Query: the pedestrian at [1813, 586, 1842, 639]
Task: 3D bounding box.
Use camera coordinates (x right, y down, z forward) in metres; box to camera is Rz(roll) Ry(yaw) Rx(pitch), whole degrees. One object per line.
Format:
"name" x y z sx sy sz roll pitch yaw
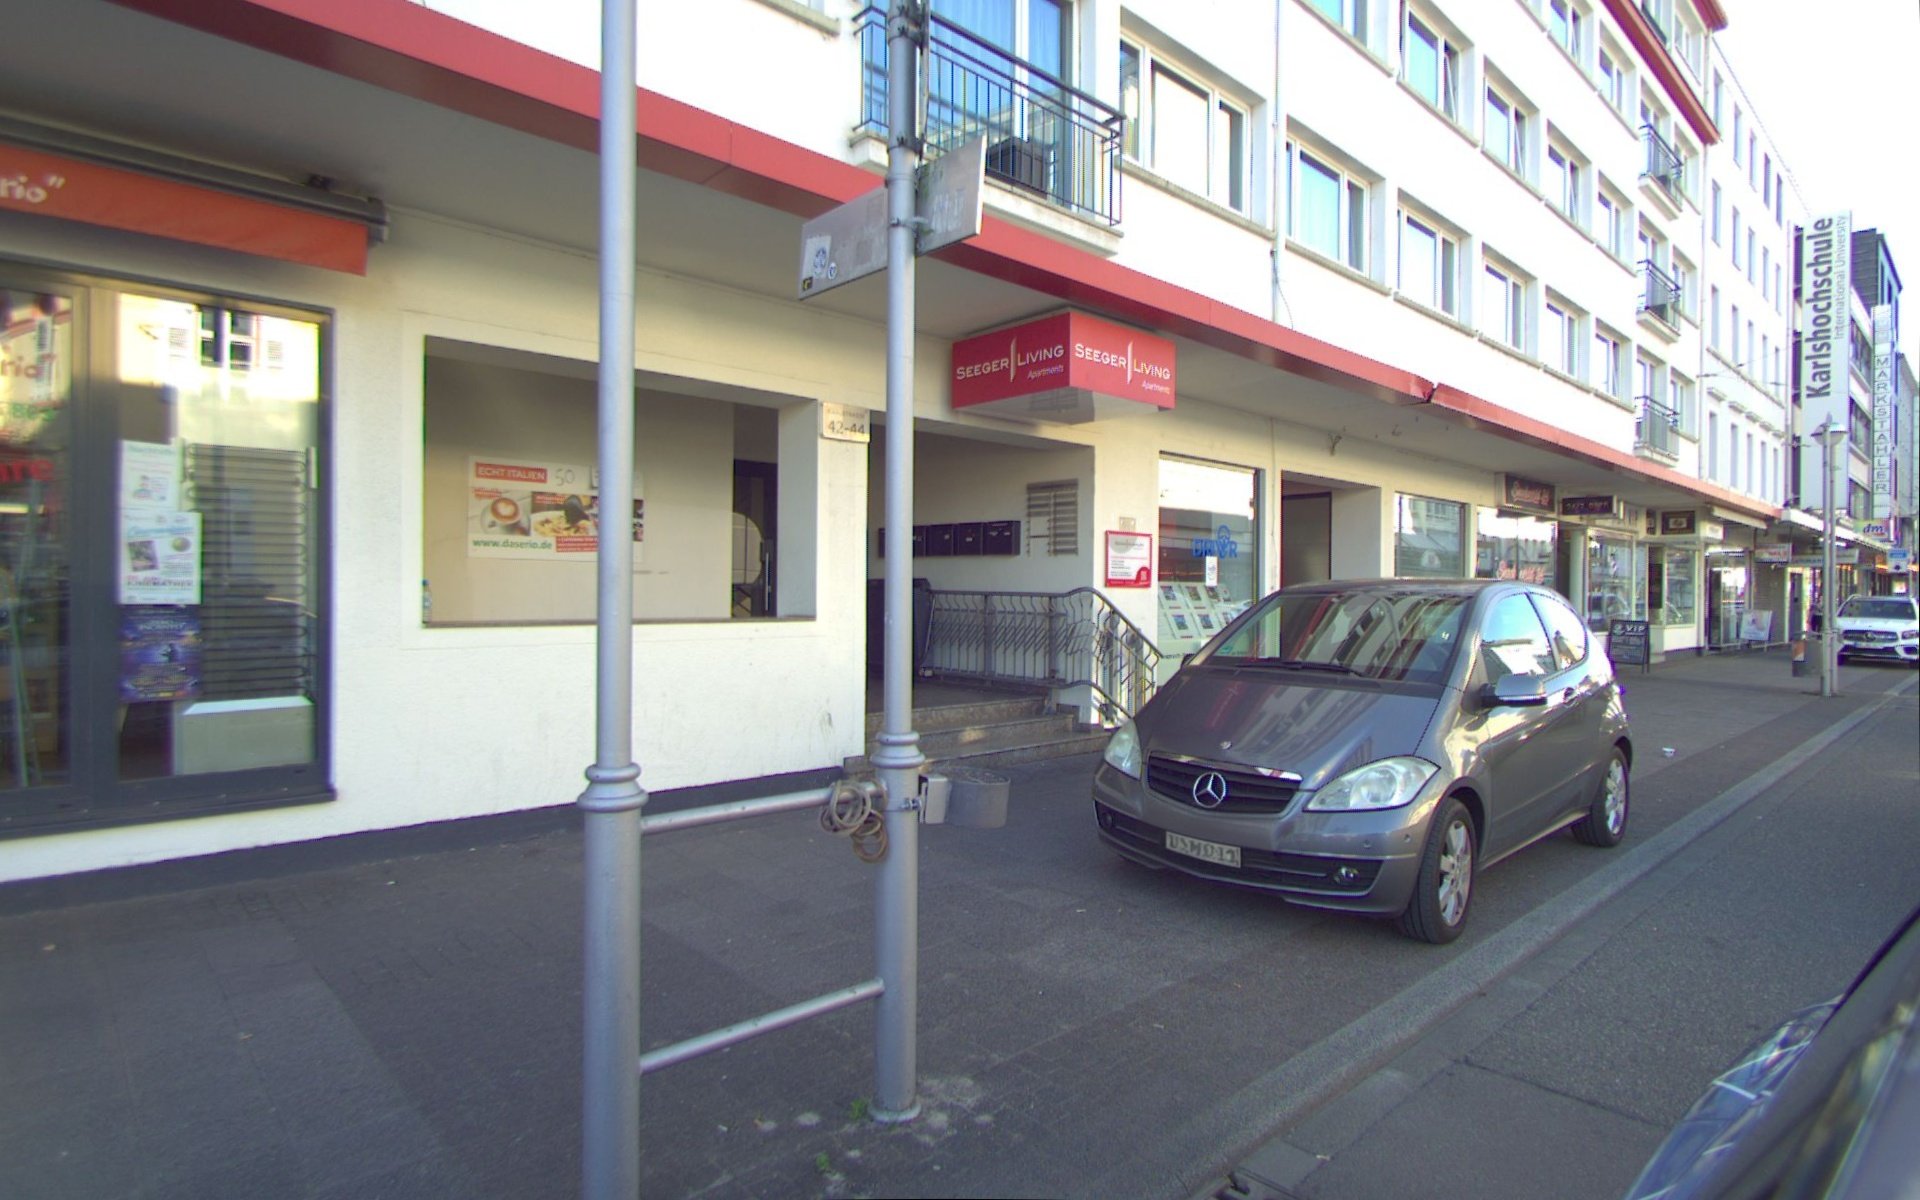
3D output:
"pedestrian" 30.532 0.425 35.611 0.794 1.840 0.704 0 0 -44

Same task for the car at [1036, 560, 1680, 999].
"car" 2.415 0.607 5.639 3.893 1.588 1.780 -1 2 -42

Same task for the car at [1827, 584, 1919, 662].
"car" 22.193 0.474 24.107 4.092 1.684 1.781 -1 2 -42
